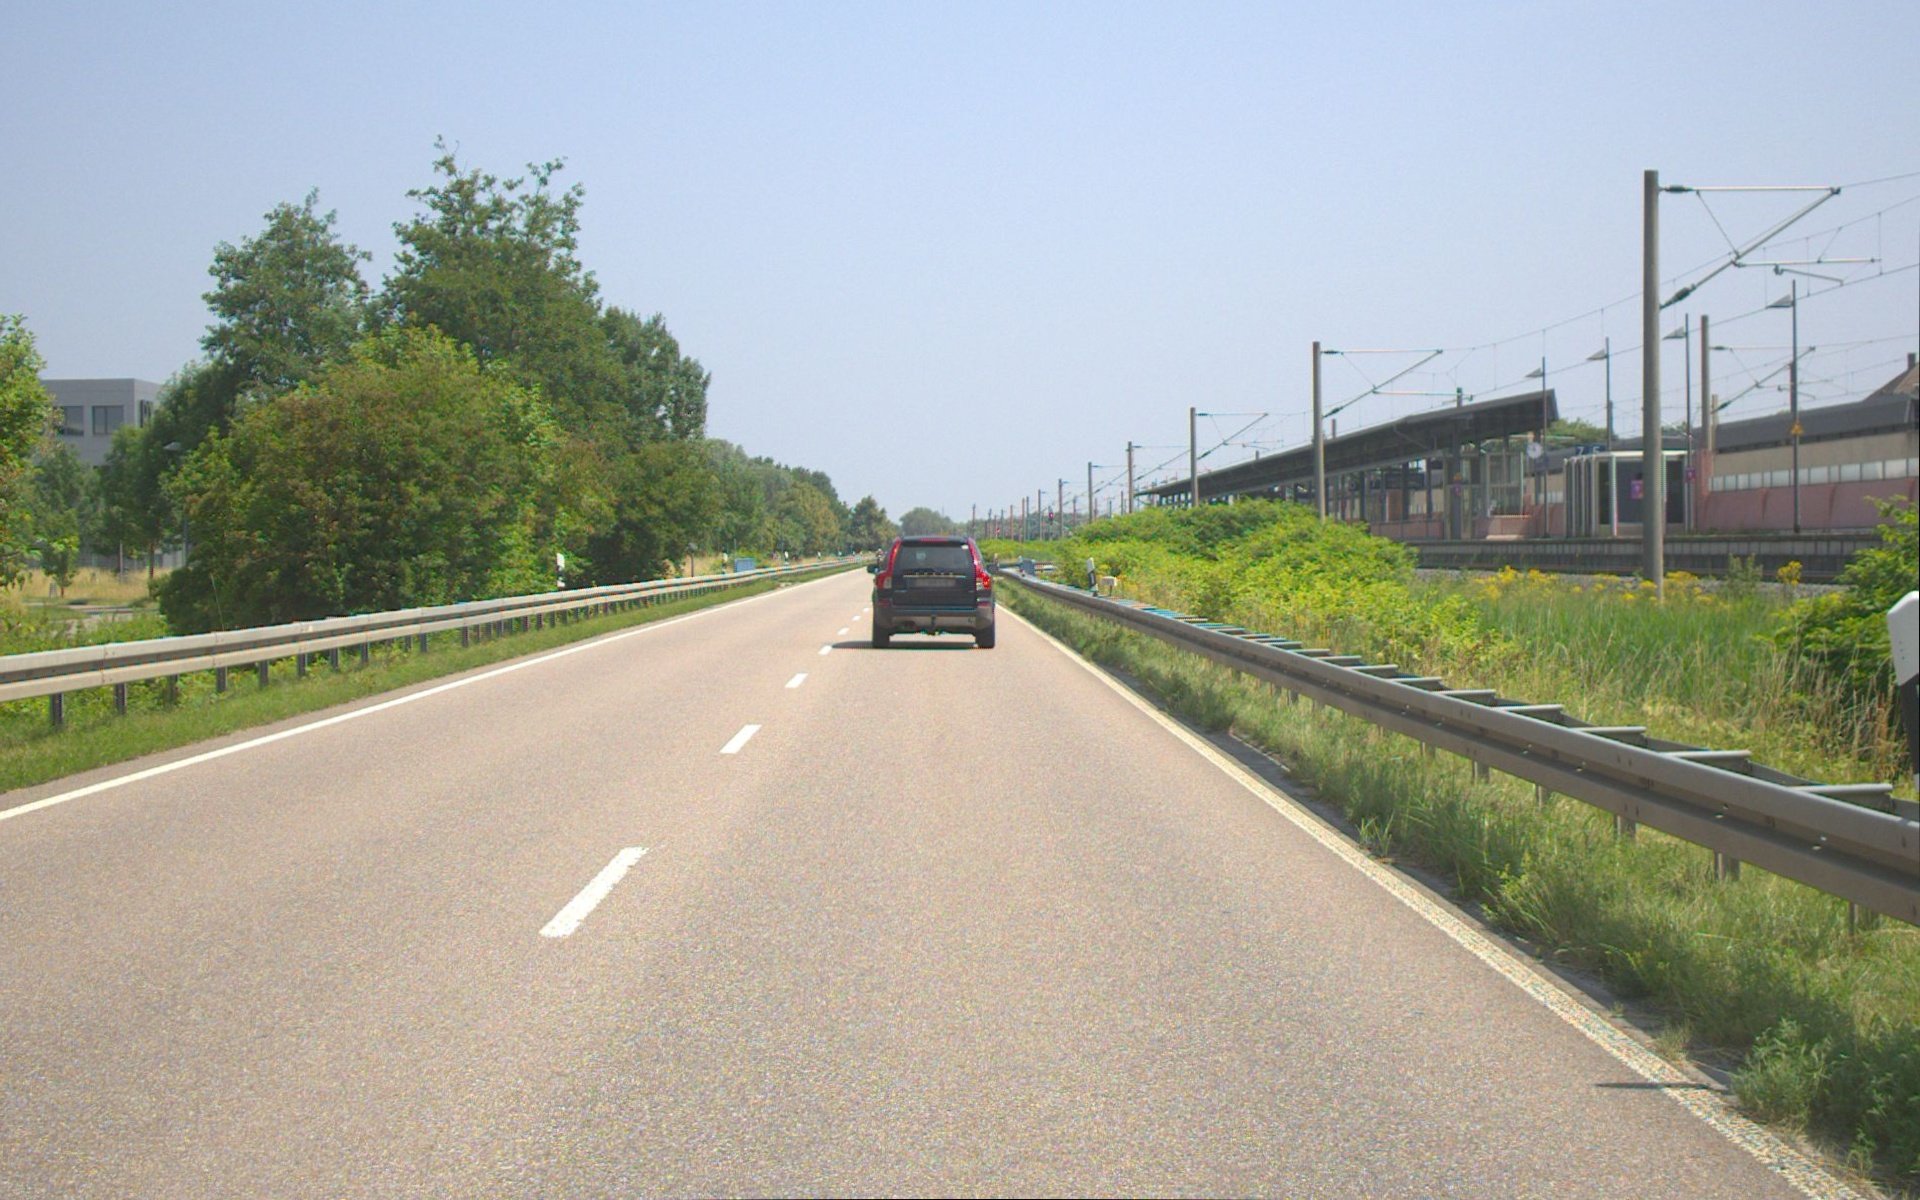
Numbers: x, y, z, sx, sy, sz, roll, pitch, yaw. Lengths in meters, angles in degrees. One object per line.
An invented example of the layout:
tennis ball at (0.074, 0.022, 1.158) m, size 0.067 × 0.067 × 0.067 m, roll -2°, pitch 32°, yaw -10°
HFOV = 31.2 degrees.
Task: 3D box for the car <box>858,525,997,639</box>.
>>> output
car at (-0.550, -0.303, 53.372) m, size 1.993 × 1.694 × 4.001 m, roll 0°, pitch 1°, yaw -3°
